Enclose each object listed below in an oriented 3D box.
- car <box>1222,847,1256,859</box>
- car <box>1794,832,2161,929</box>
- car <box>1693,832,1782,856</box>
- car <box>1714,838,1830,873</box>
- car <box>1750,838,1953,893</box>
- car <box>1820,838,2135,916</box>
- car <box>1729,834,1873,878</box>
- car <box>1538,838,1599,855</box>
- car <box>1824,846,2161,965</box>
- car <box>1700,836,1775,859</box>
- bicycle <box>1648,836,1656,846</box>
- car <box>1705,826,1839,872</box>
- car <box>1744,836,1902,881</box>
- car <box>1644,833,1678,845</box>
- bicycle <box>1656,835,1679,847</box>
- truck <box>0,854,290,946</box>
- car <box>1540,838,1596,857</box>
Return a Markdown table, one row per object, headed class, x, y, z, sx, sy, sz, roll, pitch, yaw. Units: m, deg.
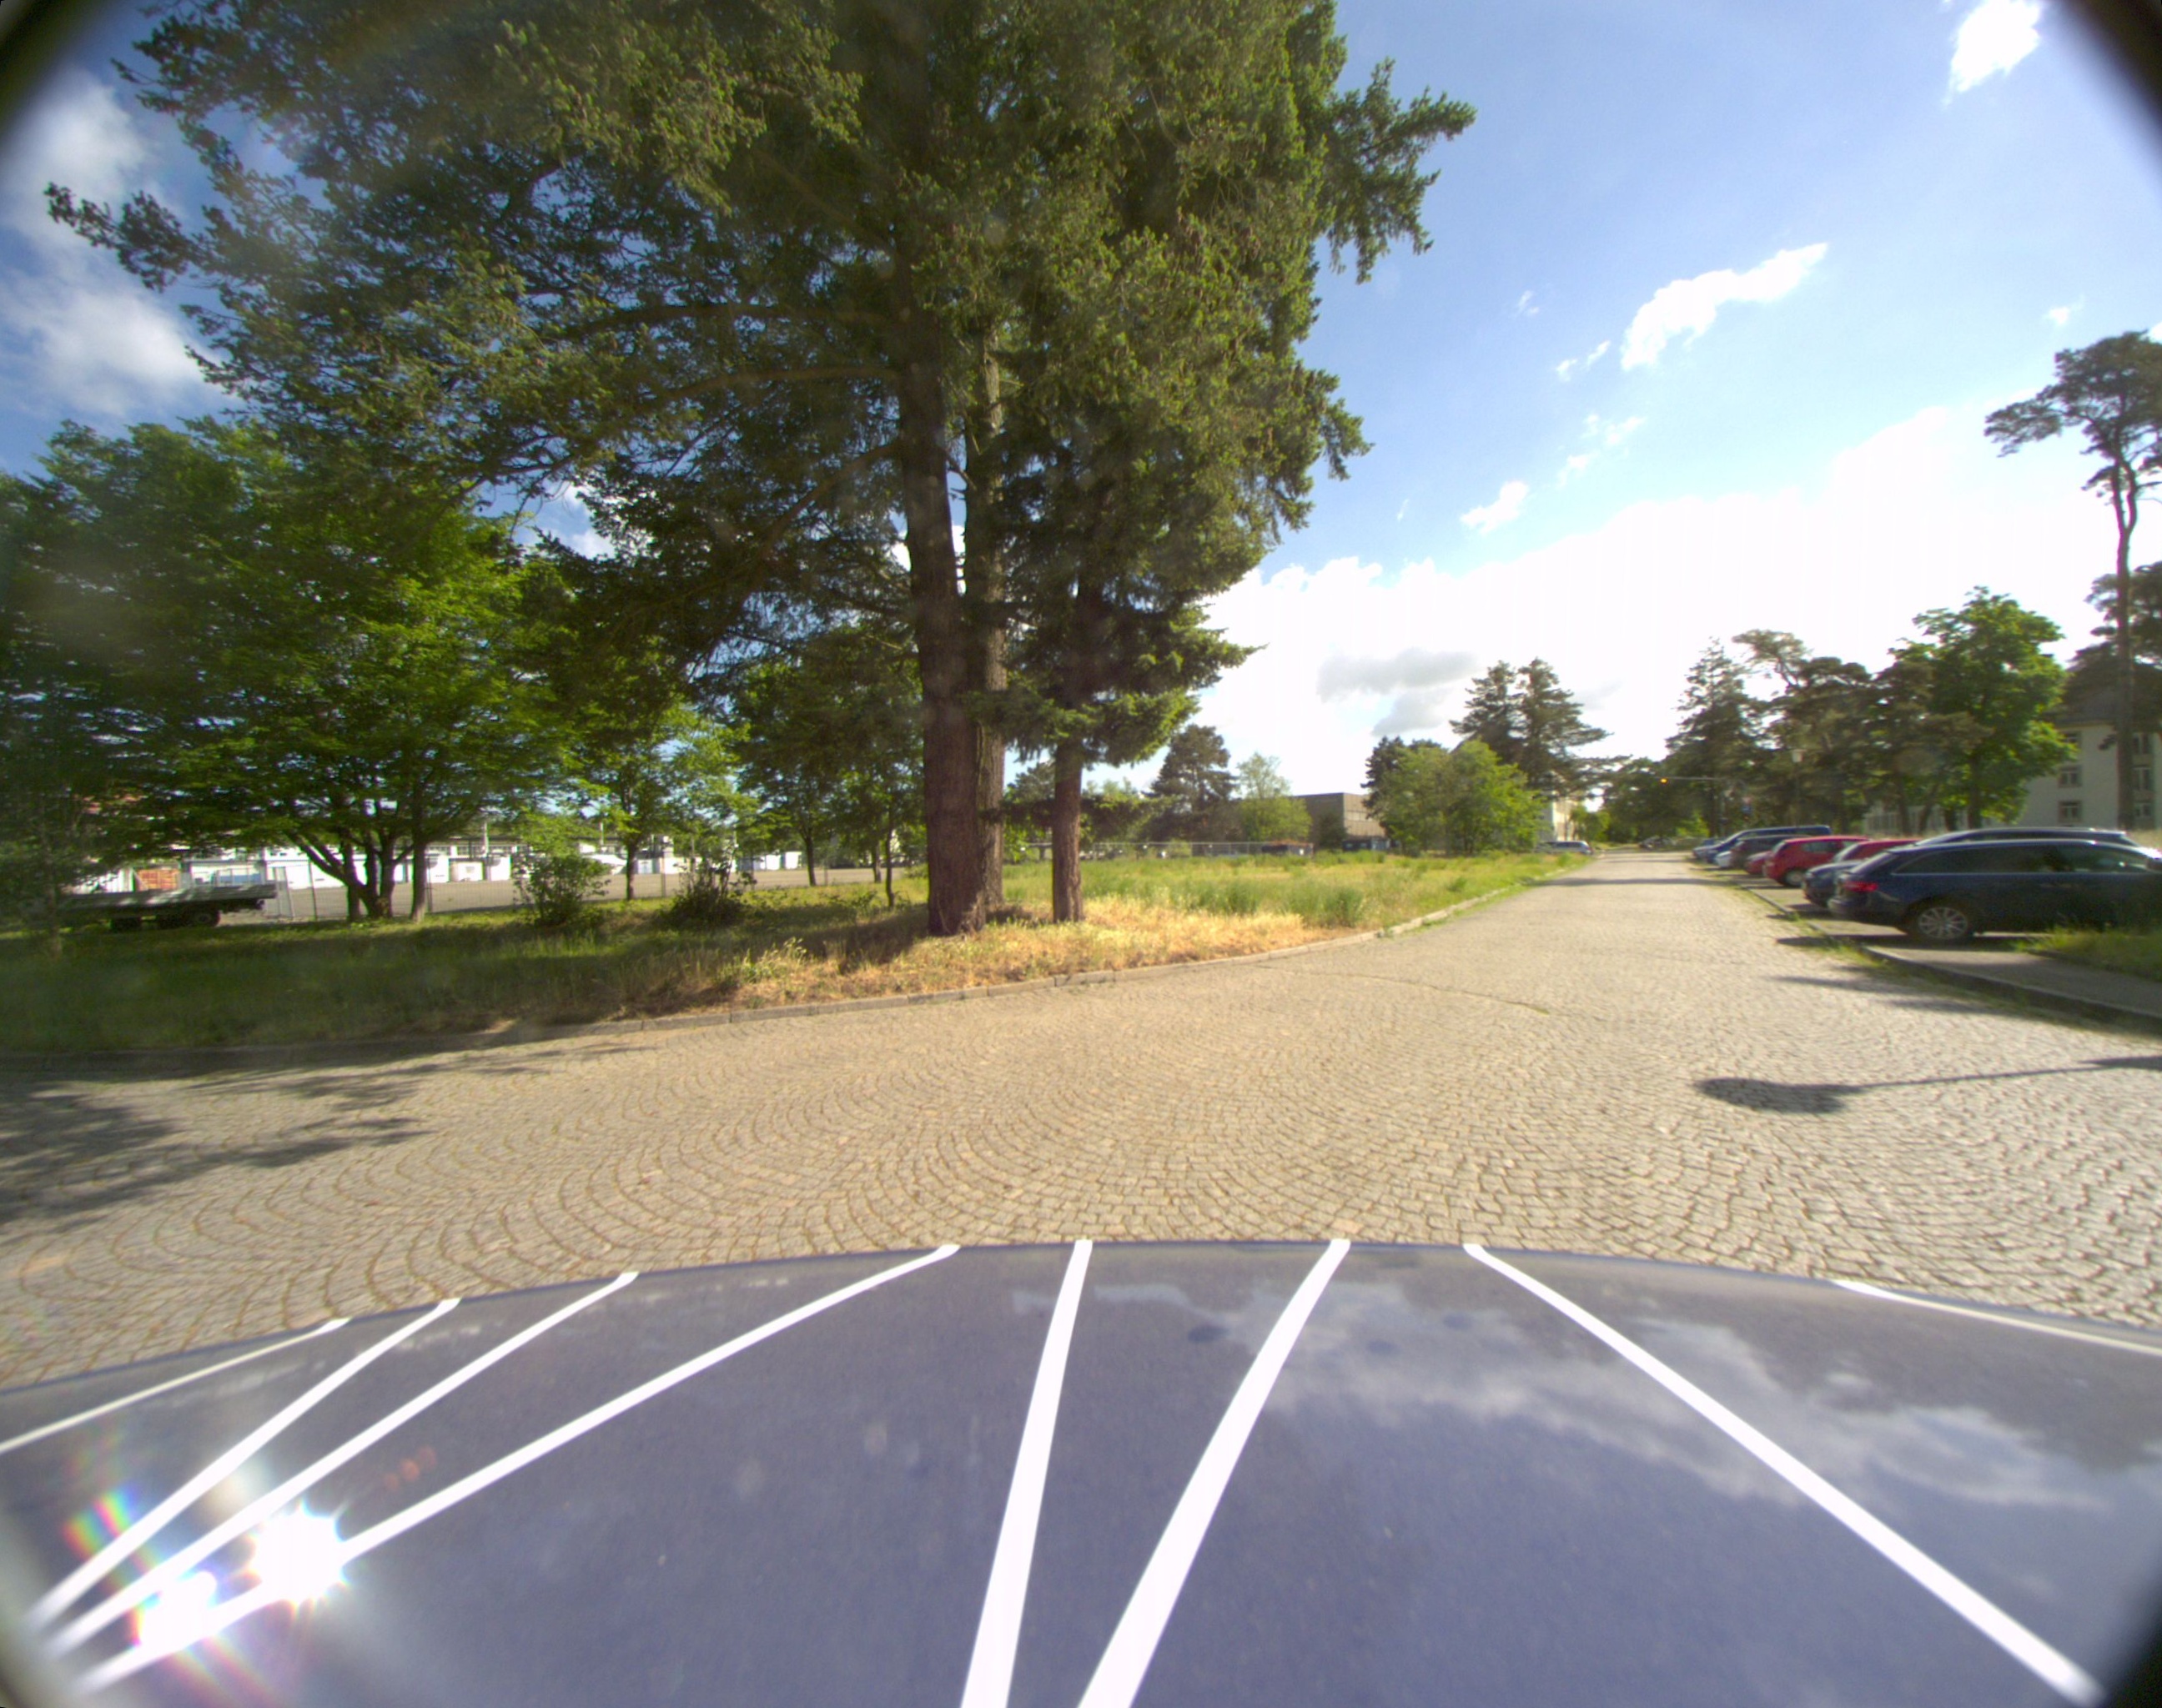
| class | x | y | z | sx | sy | sz | roll | pitch | yaw |
| --- | --- | --- | --- | --- | --- | --- | --- | --- | --- |
| car | 20.627 | -0.129 | 99.506 | 3.989 | 1.413 | 1.749 | -1 | -1 | 37 |
| car | 16.334 | 0.485 | 14.243 | 4.137 | 1.570 | 1.888 | -2 | 0 | 37 |
| car | 47.070 | -0.689 | 54.612 | 4.584 | 1.443 | 1.988 | -3 | 0 | 34 |
| car | 32.498 | 0.061 | 35.866 | 3.818 | 1.431 | 1.686 | -3 | 0 | 34 |
| car | 22.528 | 0.352 | 22.466 | 3.925 | 1.452 | 1.846 | -3 | -1 | 36 |
| car | 18.248 | 0.460 | 15.802 | 3.925 | 1.424 | 1.846 | -2 | 0 | 39 |
| car | 28.864 | 0.098 | 30.651 | 3.956 | 1.558 | 1.978 | -3 | -1 | 36 |
| car | 44.247 | -0.691 | 68.986 | 4.514 | 1.456 | 1.842 | 1 | 2 | 34 |
| car | 13.463 | 0.659 | 10.536 | 4.362 | 1.436 | 1.924 | -2 | 0 | 40 |
| car | 48.794 | -0.477 | 56.606 | 4.029 | 1.474 | 1.953 | -3 | -1 | 36 |
| bicycle | 73.466 | -1.651 | 97.768 | 0.620 | 1.276 | 2.119 | -3 | 0 | 33 |
| car | 34.178 | -0.226 | 37.798 | 4.721 | 1.956 | 2.009 | -3 | 0 | 37 |
| car | 27.446 | 0.186 | 28.292 | 3.926 | 1.440 | 1.870 | -3 | -1 | 36 |
| car | 94.442 | -2.416 | 123.770 | 4.215 | 1.903 | 1.821 | -1 | 1 | 27 |
| bicycle | 75.443 | -1.680 | 97.736 | 2.110 | 1.276 | 0.622 | -8 | -3 | 34 |
| truck | -29.462 | 1.332 | 23.292 | 2.234 | 2.409 | 6.899 | -3 | 0 | 36 |
| car | 39.904 | -0.559 | 62.248 | 3.741 | 1.468 | 1.755 | 2 | 3 | 36 |
